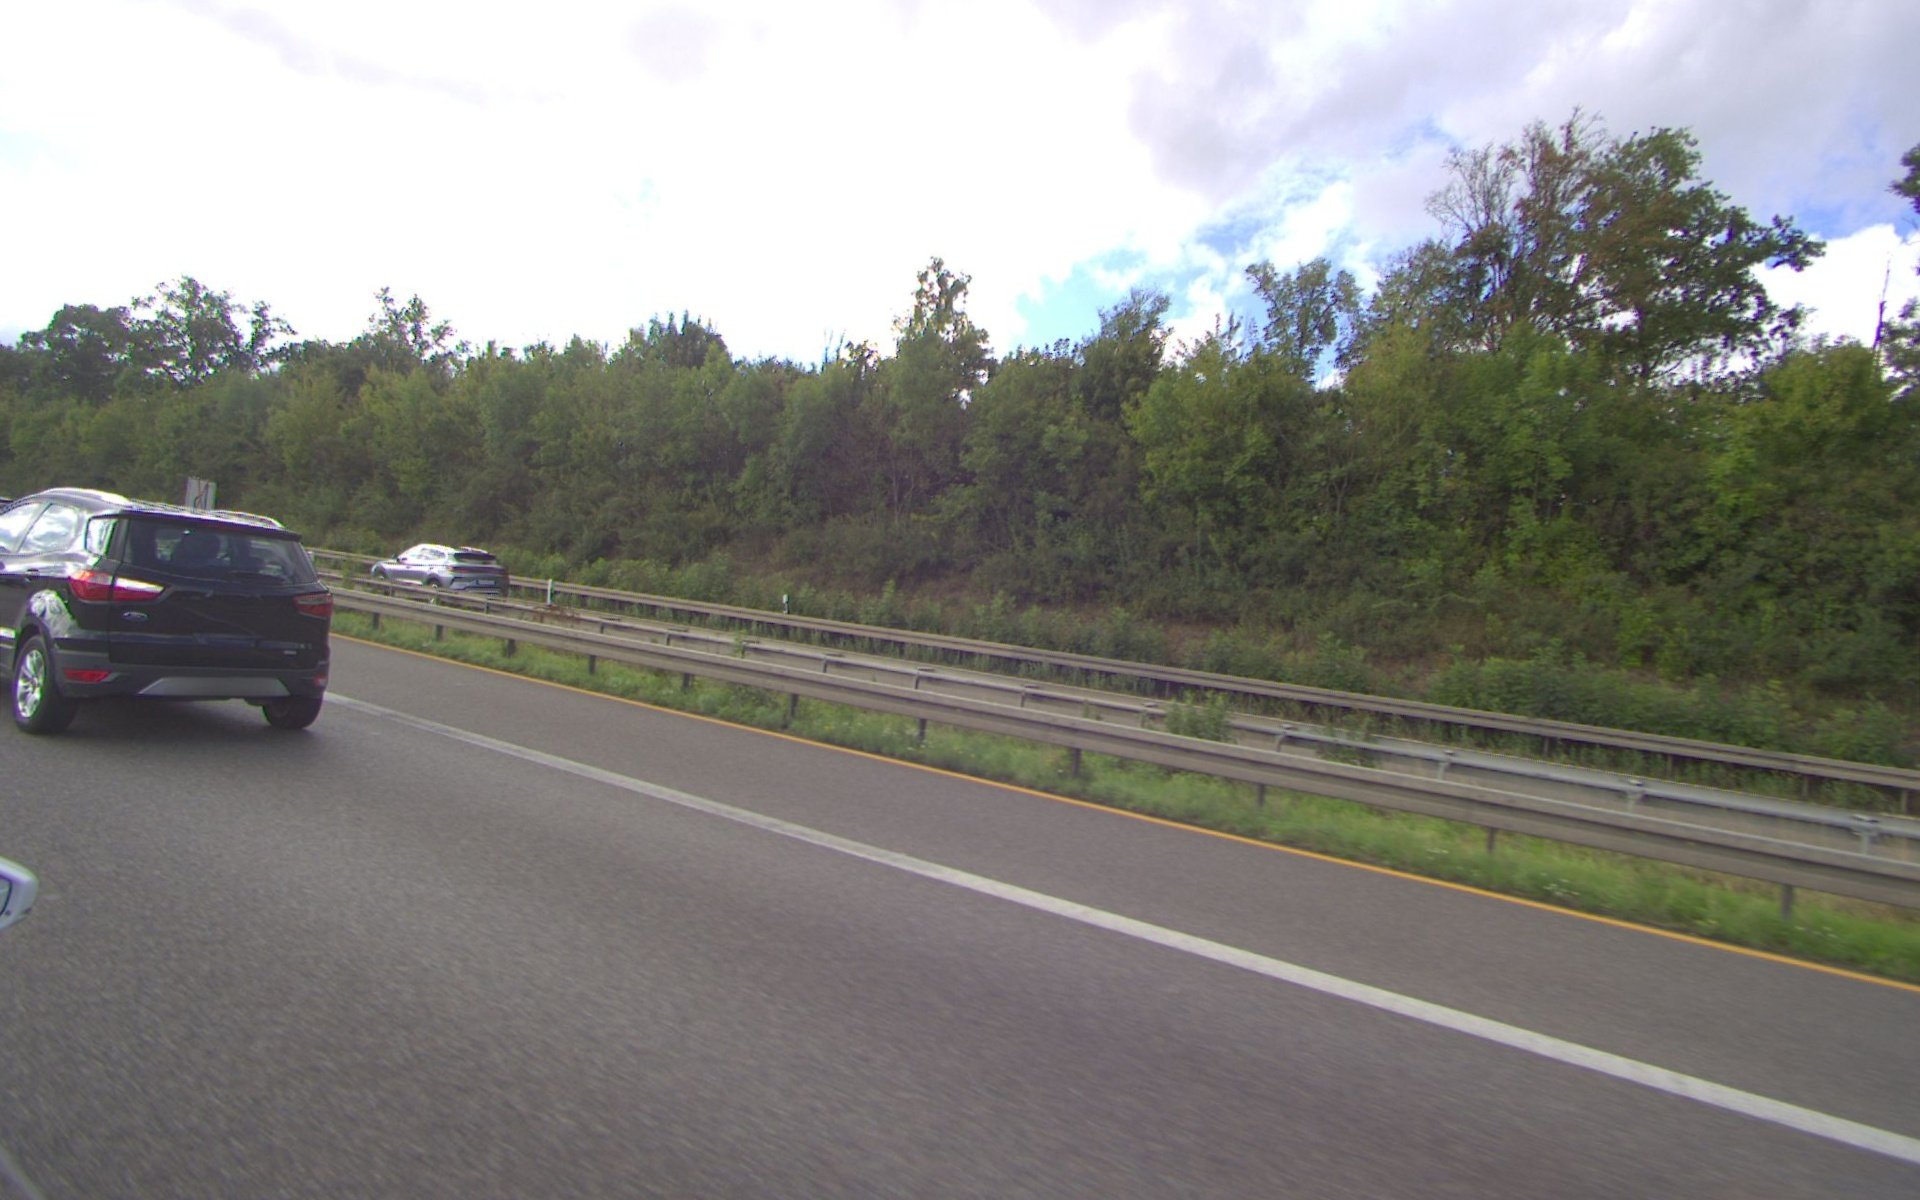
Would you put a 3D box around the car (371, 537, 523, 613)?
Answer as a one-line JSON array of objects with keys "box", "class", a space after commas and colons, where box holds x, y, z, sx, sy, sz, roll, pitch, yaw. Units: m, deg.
[{"box": [-14.652, -0.722, 28.661, 4.234, 1.671, 1.848, 7, 1, 32], "class": "car"}]

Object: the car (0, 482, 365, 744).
[{"box": [-6.800, -0.017, 8.029, 4.045, 1.583, 1.700, 7, -1, 31], "class": "car"}]

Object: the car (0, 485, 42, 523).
[{"box": [-47.042, -4.822, 49.423, 4.119, 1.564, 1.598, 6, -1, 30], "class": "car"}]

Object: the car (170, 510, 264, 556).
[{"box": [-32.663, -2.962, 44.207, 4.233, 1.566, 1.730, 7, 1, 30], "class": "car"}]
